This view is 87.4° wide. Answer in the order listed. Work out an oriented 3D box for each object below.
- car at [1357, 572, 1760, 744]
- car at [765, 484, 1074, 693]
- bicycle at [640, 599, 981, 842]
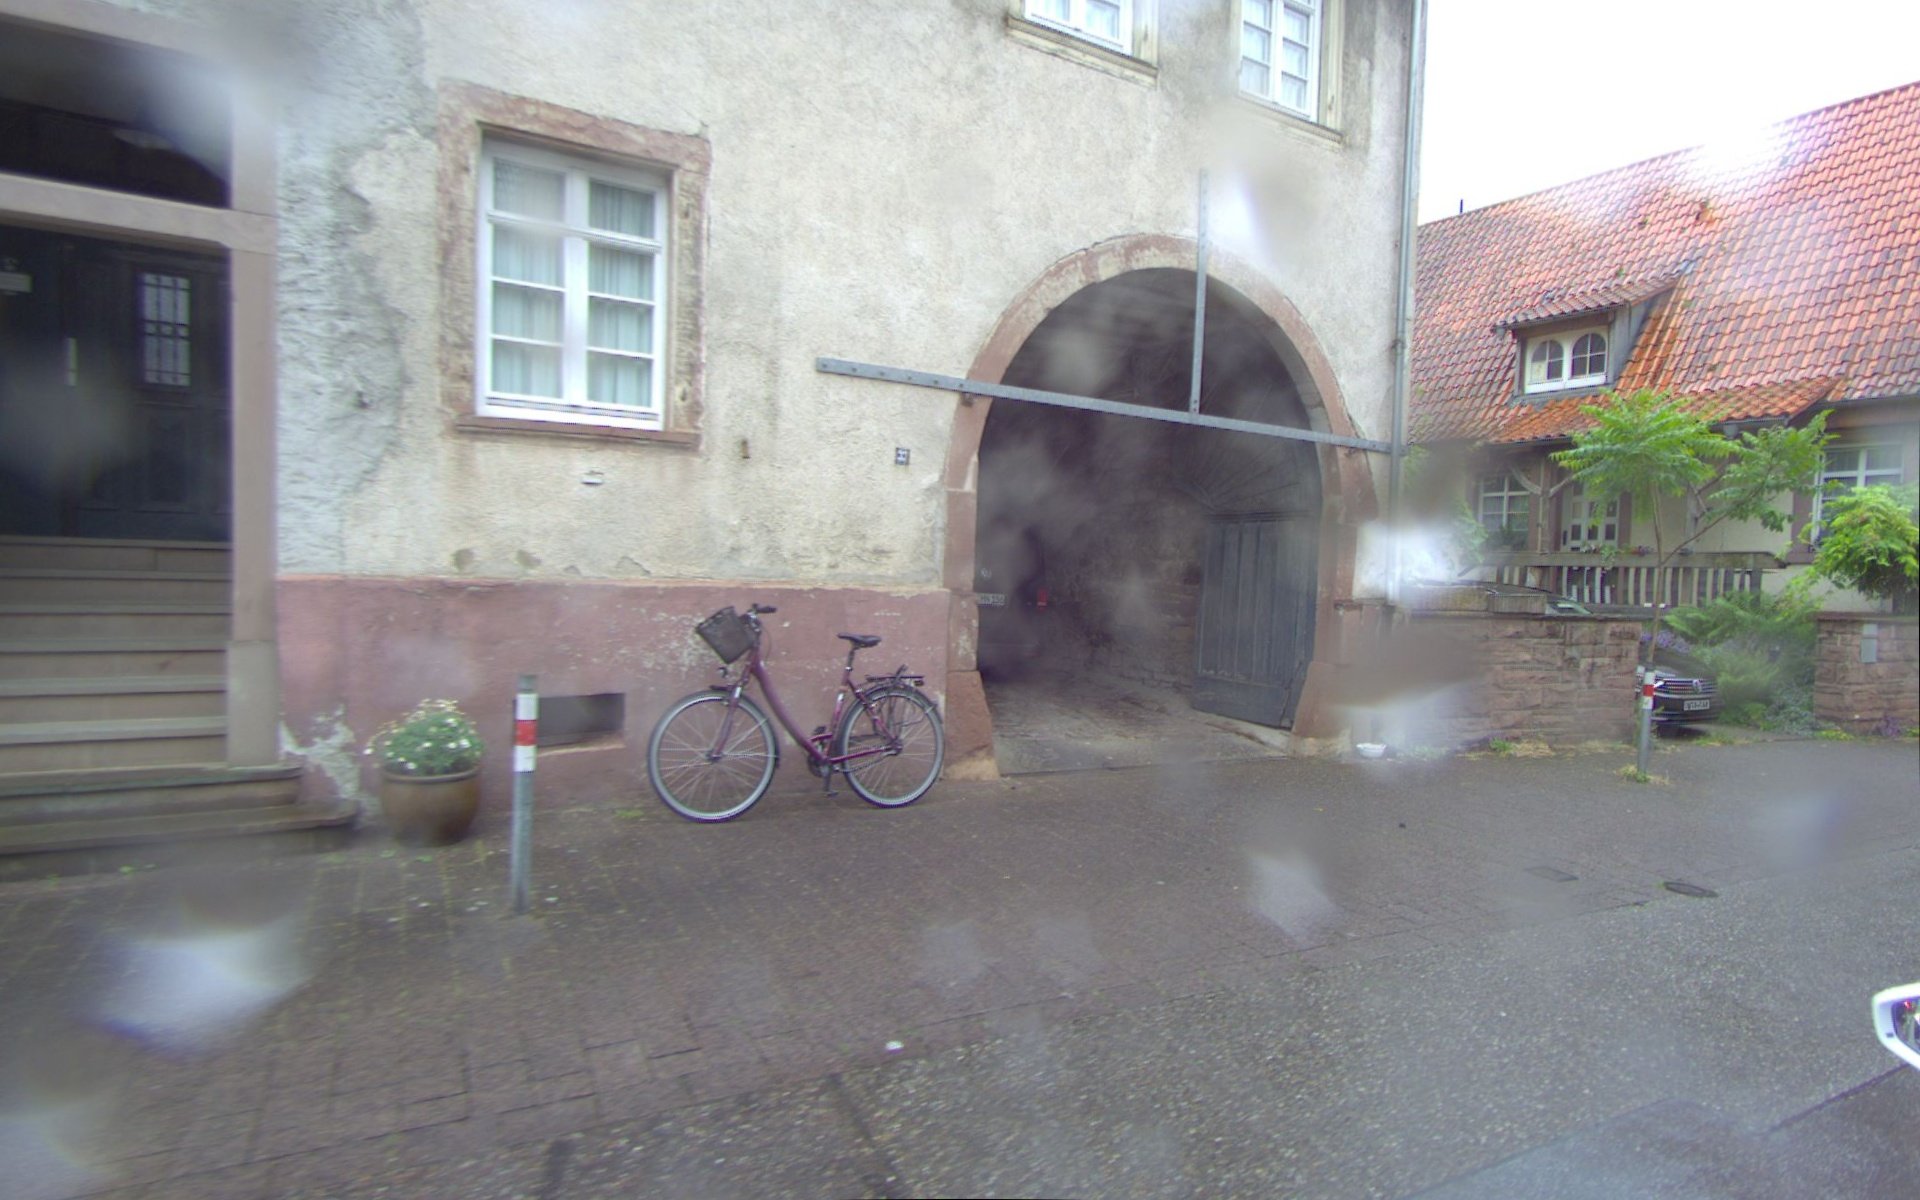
[{"bbox_3d":[7.130,0.575,12.496,1.711,1.445,3.977,2,6,-22],"label":"car"},{"bbox_3d":[-0.702,-0.293,11.863,1.863,1.959,4.205,1,6,-29],"label":"car"},{"bbox_3d":[-0.809,0.612,5.707,1.853,1.194,0.479,0,4,-31],"label":"bicycle"}]
